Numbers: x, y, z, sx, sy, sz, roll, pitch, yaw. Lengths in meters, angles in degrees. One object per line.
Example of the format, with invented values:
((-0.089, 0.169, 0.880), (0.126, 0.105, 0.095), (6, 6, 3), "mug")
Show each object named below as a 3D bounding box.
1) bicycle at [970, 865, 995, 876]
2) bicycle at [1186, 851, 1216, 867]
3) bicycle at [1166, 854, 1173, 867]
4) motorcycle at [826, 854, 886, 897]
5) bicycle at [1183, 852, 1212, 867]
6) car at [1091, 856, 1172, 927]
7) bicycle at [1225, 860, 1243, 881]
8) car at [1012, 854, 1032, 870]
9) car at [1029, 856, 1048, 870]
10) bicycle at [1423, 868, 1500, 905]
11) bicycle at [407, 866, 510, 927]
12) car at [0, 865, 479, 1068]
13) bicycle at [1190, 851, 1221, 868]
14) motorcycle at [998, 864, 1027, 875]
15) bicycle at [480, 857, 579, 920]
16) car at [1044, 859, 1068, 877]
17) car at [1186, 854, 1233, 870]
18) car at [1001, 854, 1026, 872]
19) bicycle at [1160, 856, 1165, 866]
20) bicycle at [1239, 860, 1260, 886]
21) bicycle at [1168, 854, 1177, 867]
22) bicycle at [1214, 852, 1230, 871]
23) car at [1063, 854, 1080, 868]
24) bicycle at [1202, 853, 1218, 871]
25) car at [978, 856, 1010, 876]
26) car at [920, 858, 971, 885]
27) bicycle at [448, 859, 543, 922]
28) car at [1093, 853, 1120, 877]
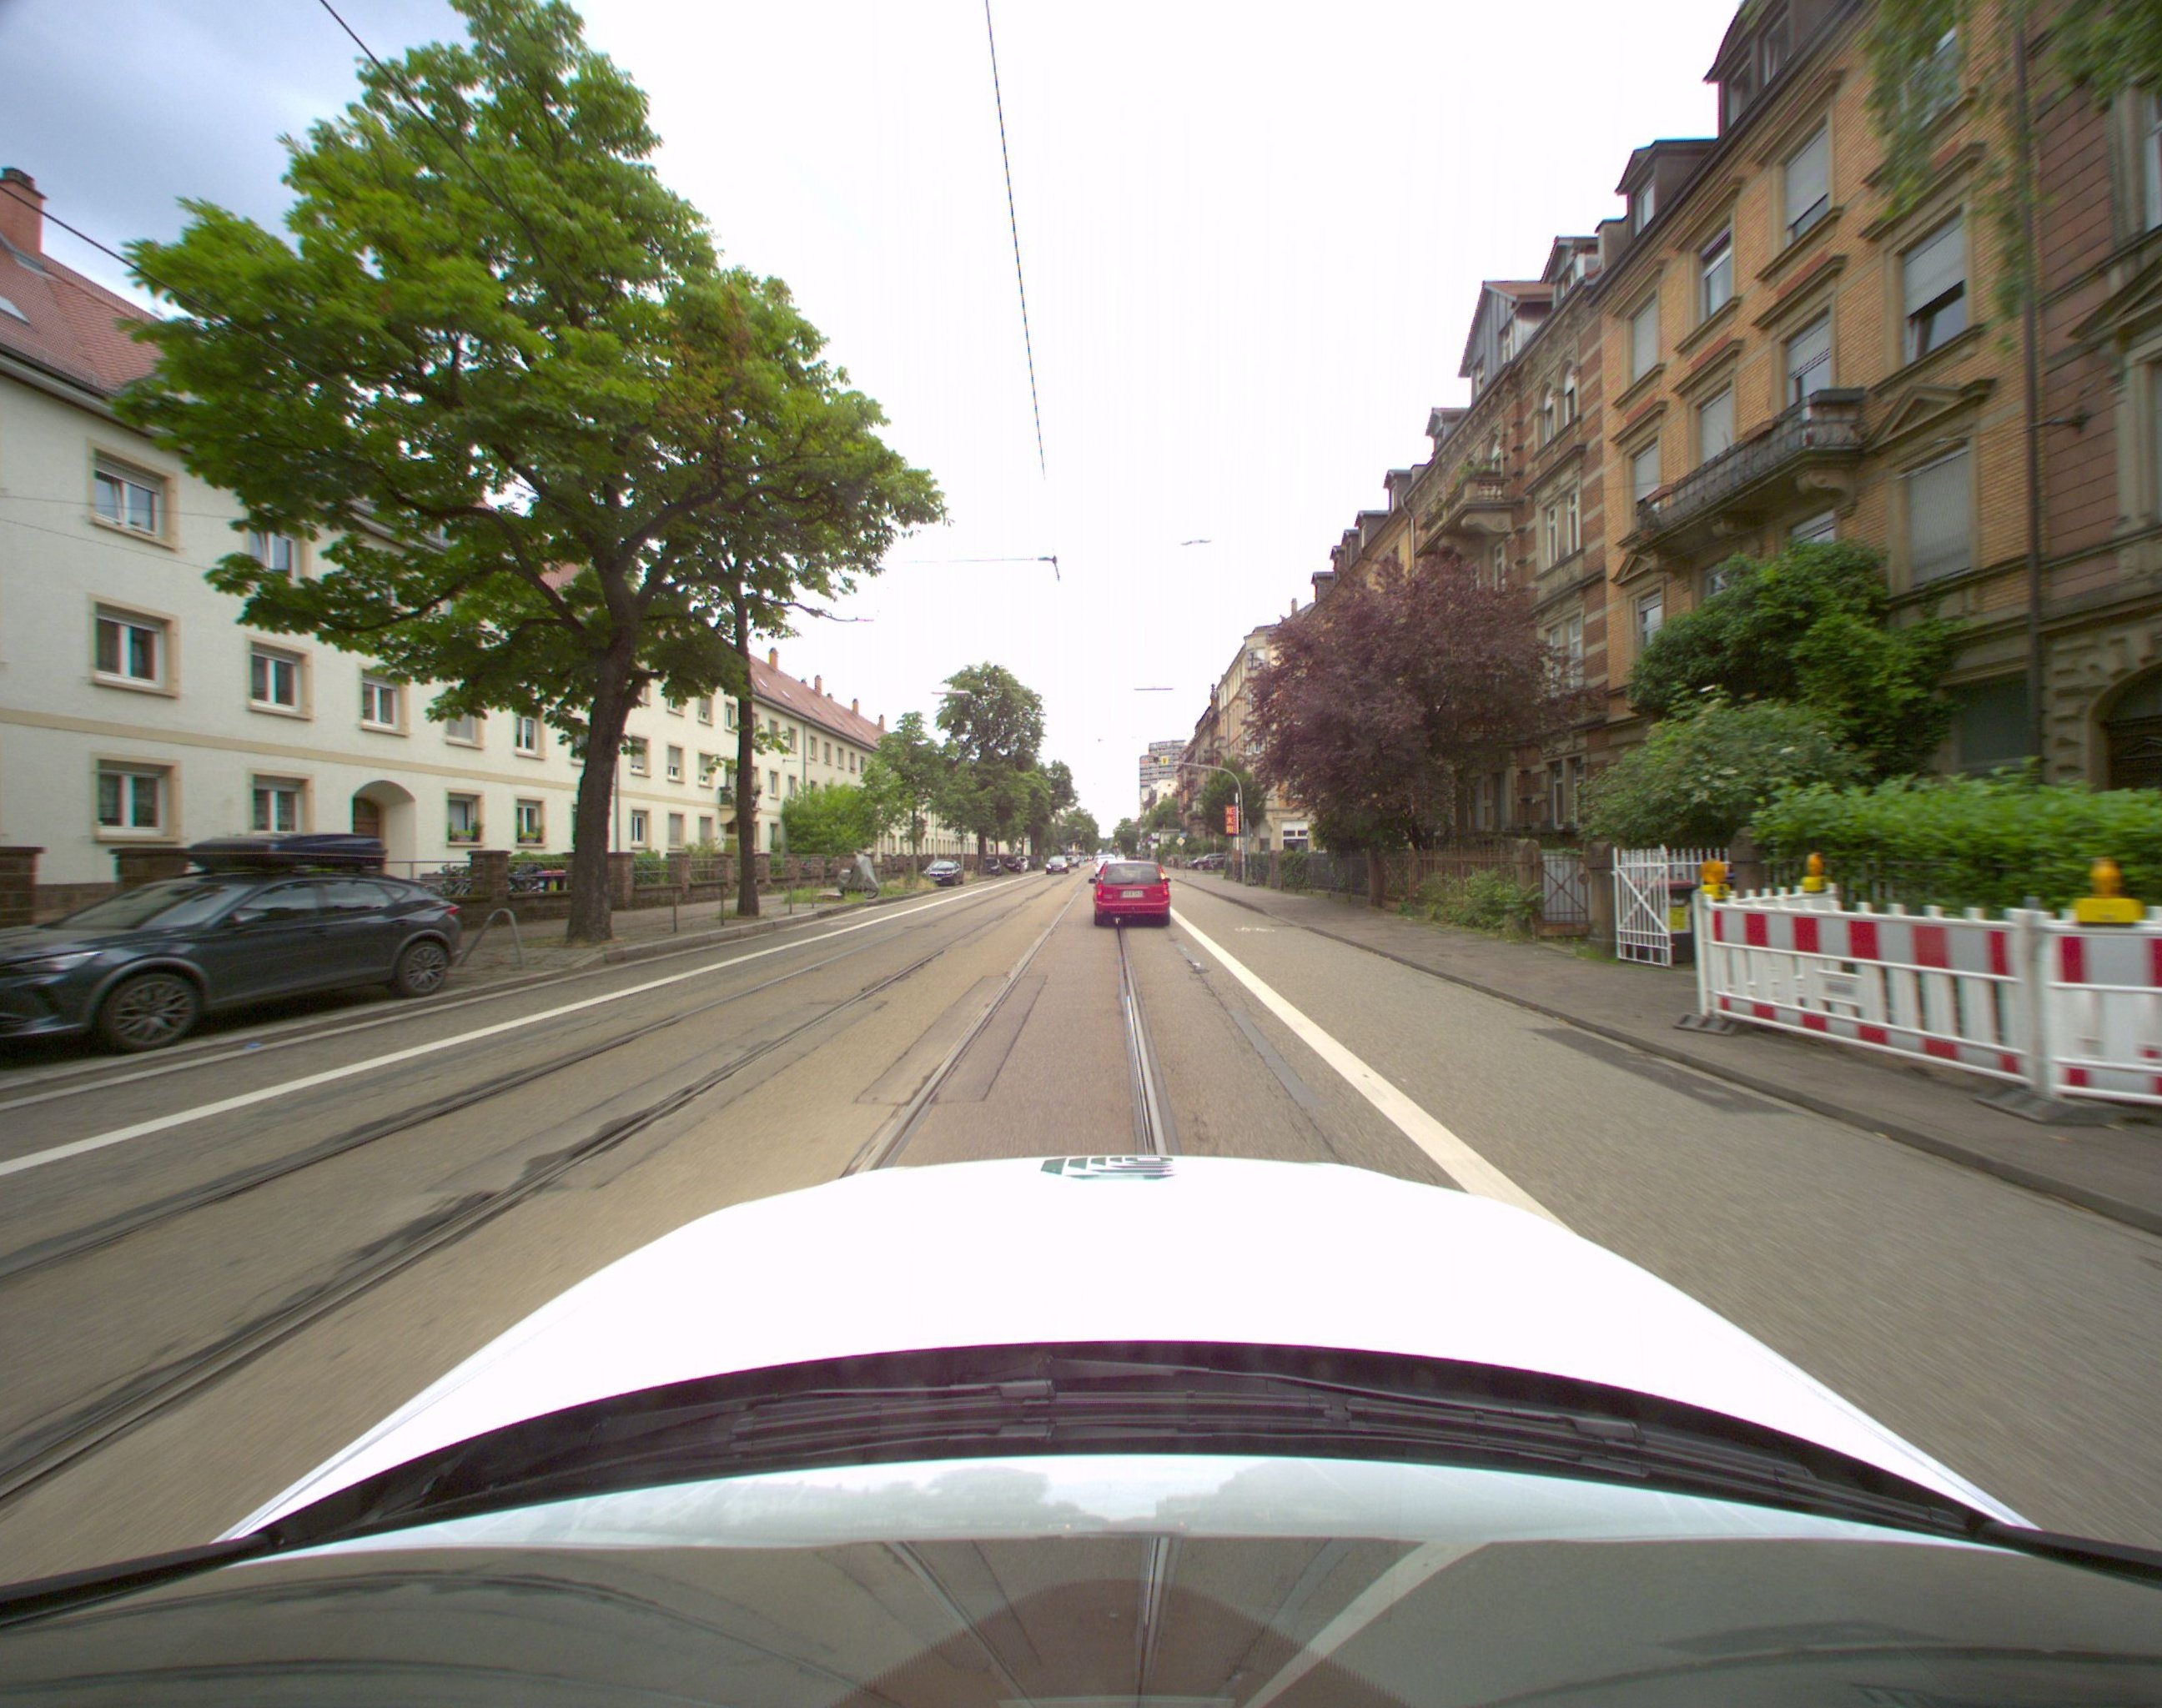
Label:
((-7.270, 1.212, 60.260), (1.741, 0.844, 0.684), (0, 0, 2), "bicycle")
((12.486, 0.515, 84.618), (2.966, 1.624, 1.049), (0, 0, -1), "bicycle")
((9.391, 0.661, 86.174), (0.549, 1.400, 1.735), (-1, 0, 2), "bicycle")
((-8.279, 0.791, 29.989), (2.243, 1.511, 0.932), (-1, -2, 37), "motorcycle")
((12.332, 0.567, 86.370), (2.966, 1.624, 1.049), (0, 0, -1), "bicycle")
((1.106, 0.788, 18.823), (1.683, 1.441, 3.744), (0, 0, 2), "car")
((7.630, 0.819, 40.731), (0.521, 1.030, 2.177), (-1, 0, 2), "bicycle")
((-6.249, 0.816, 86.576), (1.707, 1.580, 4.002), (1, 0, 2), "car")
((-4.772, 0.983, 91.406), (1.713, 1.486, 4.002), (-1, 0, 2), "car")
((9.258, 0.788, 19.849), (1.607, 0.864, 0.556), (-2, 0, 9), "bicycle")
((-14.627, 0.965, 19.224), (0.745, 1.298, 2.141), (-1, 0, 1), "bicycle")
((-8.807, 0.907, 8.486), (1.770, 1.511, 4.240), (0, 0, 3), "car")
((12.708, 0.566, 83.371), (2.966, 1.624, 1.049), (0, 0, -1), "bicycle")
((-6.807, 1.538, 81.374), (2.865, 1.077, 1.098), (-1, 0, -5), "motorcycle")
((-12.978, 0.785, 19.263), (0.789, 1.382, 2.142), (-1, 0, 2), "bicycle")
((-2.015, 1.136, 67.373), (1.749, 1.380, 4.027), (-1, 0, 1), "car")
((11.418, 0.687, 72.297), (3.960, 1.361, 1.898), (-1, 0, 12), "car")
((-6.158, 0.835, 75.015), (1.844, 1.563, 3.944), (0, 0, 2), "car")
((9.620, 0.807, 96.042), (0.488, 1.099, 1.735), (-1, 0, 2), "bicycle")
((7.425, 0.826, 35.856), (0.521, 1.099, 2.177), (-1, 0, 2), "bicycle")
((9.246, 0.677, 82.490), (0.705, 1.300, 1.905), (-1, 0, 2), "bicycle")
((11.699, 0.613, 67.663), (0.910, 1.507, 2.392), (-1, 0, 19), "bicycle")
((-1.102, 0.796, 98.548), (1.887, 1.611, 4.502), (0, 0, 2), "car")
((10.538, 0.635, 66.540), (0.910, 1.507, 2.392), (0, 0, 19), "bicycle")
((-6.592, 0.898, 62.031), (1.710, 1.482, 4.004), (0, 0, 3), "car")
((-7.466, 0.956, 45.264), (1.882, 1.398, 4.420), (0, 0, 3), "car")
((-13.772, 0.810, 19.245), (0.625, 1.382, 2.142), (-1, 0, 2), "bicycle")
((1.793, 0.736, 56.798), (1.711, 1.624, 3.945), (0, 0, 4), "car")
